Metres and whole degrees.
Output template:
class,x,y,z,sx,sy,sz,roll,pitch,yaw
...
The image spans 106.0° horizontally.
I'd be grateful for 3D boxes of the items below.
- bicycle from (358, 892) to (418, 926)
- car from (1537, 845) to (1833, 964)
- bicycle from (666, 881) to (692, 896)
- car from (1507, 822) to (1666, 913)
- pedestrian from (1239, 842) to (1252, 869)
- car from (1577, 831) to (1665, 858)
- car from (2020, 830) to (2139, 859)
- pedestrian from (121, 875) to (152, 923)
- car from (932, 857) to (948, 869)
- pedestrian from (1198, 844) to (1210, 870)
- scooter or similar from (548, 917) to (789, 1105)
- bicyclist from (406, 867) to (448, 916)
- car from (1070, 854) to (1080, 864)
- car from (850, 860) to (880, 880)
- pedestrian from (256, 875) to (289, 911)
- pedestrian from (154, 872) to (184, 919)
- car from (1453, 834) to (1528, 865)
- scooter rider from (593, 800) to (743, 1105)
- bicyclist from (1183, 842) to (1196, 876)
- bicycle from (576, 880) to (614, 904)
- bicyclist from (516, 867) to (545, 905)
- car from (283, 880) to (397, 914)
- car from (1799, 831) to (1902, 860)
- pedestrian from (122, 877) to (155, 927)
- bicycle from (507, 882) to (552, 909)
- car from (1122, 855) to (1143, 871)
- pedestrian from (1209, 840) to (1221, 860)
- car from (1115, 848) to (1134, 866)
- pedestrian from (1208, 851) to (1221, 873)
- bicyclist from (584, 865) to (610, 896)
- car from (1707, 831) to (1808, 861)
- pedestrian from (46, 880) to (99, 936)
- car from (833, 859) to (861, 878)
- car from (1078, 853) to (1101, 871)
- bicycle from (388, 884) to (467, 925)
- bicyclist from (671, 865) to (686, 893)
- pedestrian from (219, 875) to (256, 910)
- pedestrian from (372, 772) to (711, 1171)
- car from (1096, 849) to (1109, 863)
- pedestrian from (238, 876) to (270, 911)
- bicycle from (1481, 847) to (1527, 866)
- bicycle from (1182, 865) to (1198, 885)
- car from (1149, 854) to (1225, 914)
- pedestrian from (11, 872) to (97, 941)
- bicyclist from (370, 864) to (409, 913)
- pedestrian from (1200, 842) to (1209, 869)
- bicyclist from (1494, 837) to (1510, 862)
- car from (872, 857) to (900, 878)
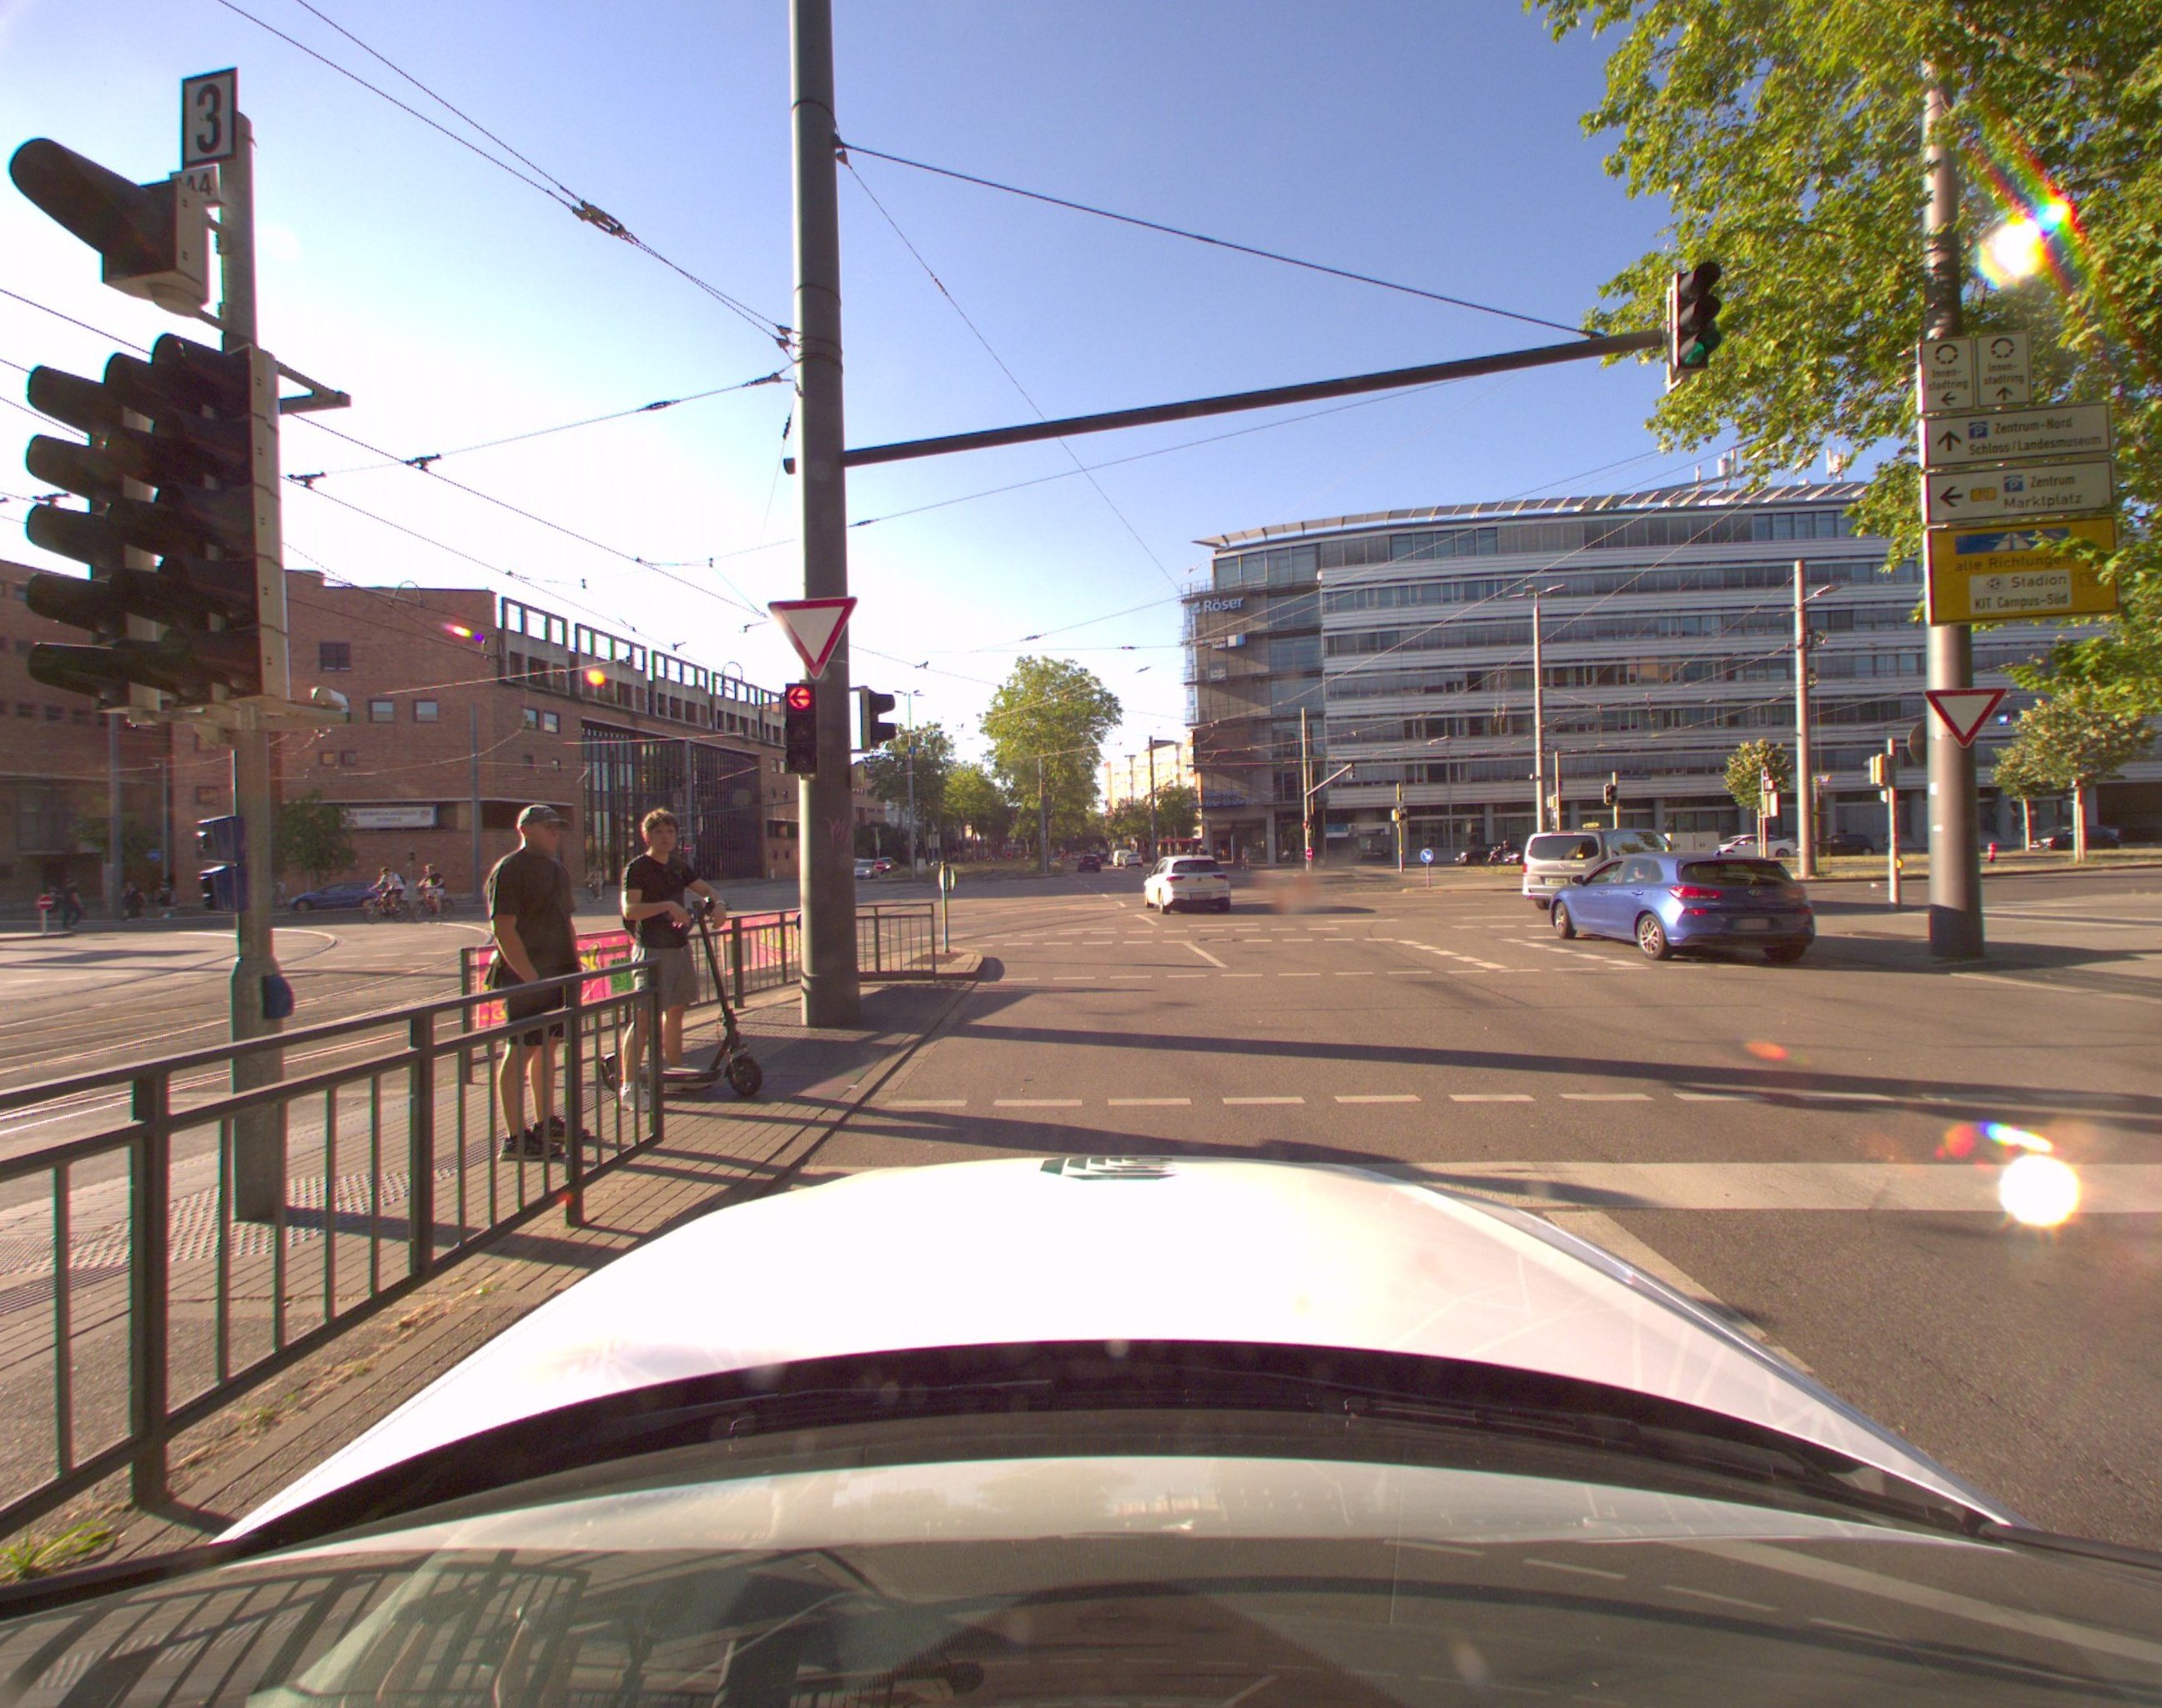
class,x,y,z,sx,sy,sz,roll,pitch,yaw
bicycle,-23.057,1.823,27.135,0.653,0.998,1.894,-2,0,-11
car,8.628,0.630,12.177,1.738,1.459,4.222,-1,0,8
bicycle,-23.459,2.006,47.557,0.588,0.771,1.966,-2,0,-2
car,12.117,0.251,19.375,4.910,1.896,1.983,-1,0,-43
pedestrian,12.597,0.118,62.319,0.866,2.014,0.794,0,-1,1
car,31.998,-0.542,48.328,3.966,1.552,1.800,0,-1,6
car,55.971,-0.506,45.716,4.097,1.596,1.884,0,-1,5
pedestrian,-40.695,1.937,35.102,0.615,2.013,0.726,-2,0,-28
car,-19.233,1.169,111.130,1.673,1.607,3.994,0,-1,-4
pedestrian,9.404,0.242,62.279,0.846,2.014,0.708,0,-1,1
scooter or similar,-2.653,0.993,5.315,1.196,1.081,0.649,-2,0,5
bicyclist,-21.994,1.255,27.407,0.678,1.560,0.760,-2,2,7
car,-1.306,1.214,186.880,1.985,2.015,4.001,0,-6,3
car,-17.990,1.285,67.886,1.618,1.577,3.994,-2,0,-4
pedestrian,-48.501,2.320,48.858,1.003,2.052,0.850,-2,0,-1
pedestrian,-40.088,1.810,35.799,0.615,2.013,0.726,-2,0,-28
car,27.108,-0.268,54.028,3.972,2.014,2.001,0,-1,2
scooter rider,-2.674,0.611,5.326,0.563,1.853,0.681,-2,-2,6
bicyclist,4.730,0.219,35.391,0.485,1.439,0.616,1,1,1
bicycle,-23.174,1.783,38.861,0.650,1.050,2.010,-1,0,-3
bicyclist,-23.017,1.326,34.044,0.660,1.569,0.757,-2,0,-6
car,-36.085,2.080,39.758,3.717,1.376,1.575,-2,0,-21
car,44.790,-0.478,47.474,4.097,1.596,1.884,0,-1,5
pedestrian,-38.934,1.971,33.655,0.615,2.013,0.726,-2,0,-29
bicycle,-22.978,1.724,33.969,0.692,0.998,1.898,-2,0,-5
car,5.245,0.944,82.907,2.022,1.596,4.001,0,-1,2
pedestrian,14.664,-0.416,89.053,1.305,2.190,1.173,-1,-1,8
car,4.743,0.344,89.702,1.986,2.014,4.001,0,-1,2
pedestrian,10.227,0.604,62.567,0.866,1.707,0.794,0,-1,1
bicyclist,-23.186,1.254,39.002,0.652,1.474,1.031,-1,-1,-3
car,37.602,-0.415,45.333,3.968,1.596,1.884,0,-1,5
pedestrian,-35.088,1.861,28.352,0.721,1.902,0.875,0,-1,-1
car,-22.785,1.362,79.331,1.865,1.762,3.992,0,0,-5
car,0.675,0.675,67.293,1.759,1.404,4.293,-1,0,-2
bicycle,-21.979,1.672,27.442,0.681,1.142,2.116,-2,2,8
bicyclist,-23.471,1.462,47.460,0.585,1.625,0.514,-2,0,-2
pedestrian,-49.554,2.248,47.854,1.155,2.013,0.910,-2,0,-2
pedestrian,-2.797,0.574,4.335,1.161,1.884,0.856,-2,0,6
car,3.353,0.327,126.927,1.986,2.014,4.001,0,-1,2
pedestrian,-49.806,2.357,49.058,1.003,2.052,0.850,-2,0,-1
bicycle,25.460,0.139,49.027,2.397,1.022,0.638,-2,0,6
bicycle,4.737,0.907,35.335,0.489,0.788,1.863,-1,1,2
car,2.726,0.732,21.659,1.740,1.418,4.004,-1,0,4
pedestrian,-30.838,1.550,24.483,1.029,2.014,1.208,0,-1,1
bicyclist,-23.096,1.129,27.207,0.661,1.574,0.756,-2,0,-10
pedestrian,9.317,0.103,61.643,0.584,2.014,0.620,0,-1,2
bicyclist,25.343,-0.279,49.047,0.660,1.503,0.614,-2,0,7
car,-18.041,1.195,75.377,1.819,1.790,3.994,-2,0,-4
